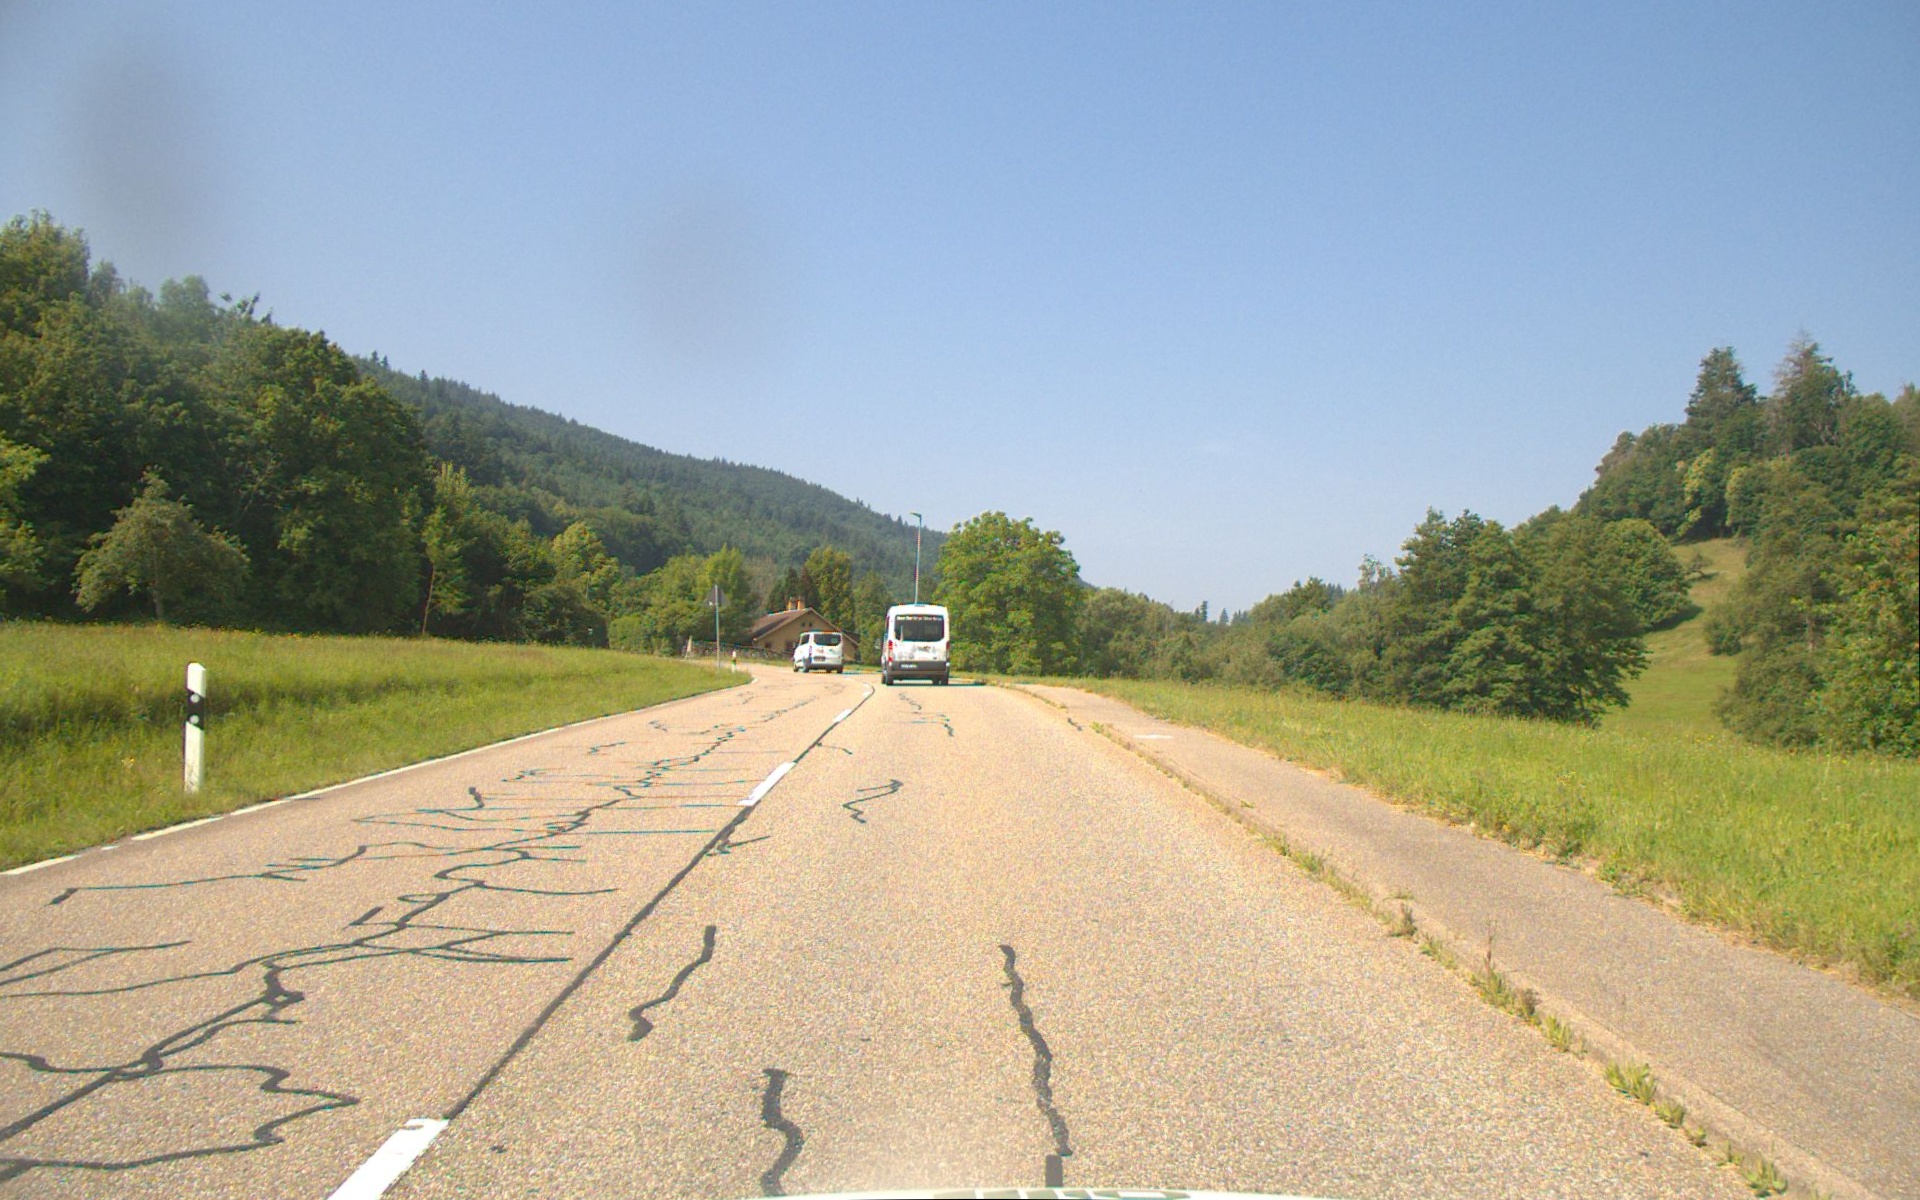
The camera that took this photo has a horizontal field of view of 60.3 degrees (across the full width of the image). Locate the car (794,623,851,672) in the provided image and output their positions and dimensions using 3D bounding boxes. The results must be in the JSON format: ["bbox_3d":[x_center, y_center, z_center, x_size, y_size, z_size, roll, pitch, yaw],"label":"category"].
[{"bbox_3d":[-6.994,2.414,83.406,2.184,2.327,4.968,-1,-2,-12],"label":"car"}]

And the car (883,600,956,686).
[{"bbox_3d":[-1.294,1.410,53.228,2.177,2.570,4.982,-2,-2,-1],"label":"car"}]
